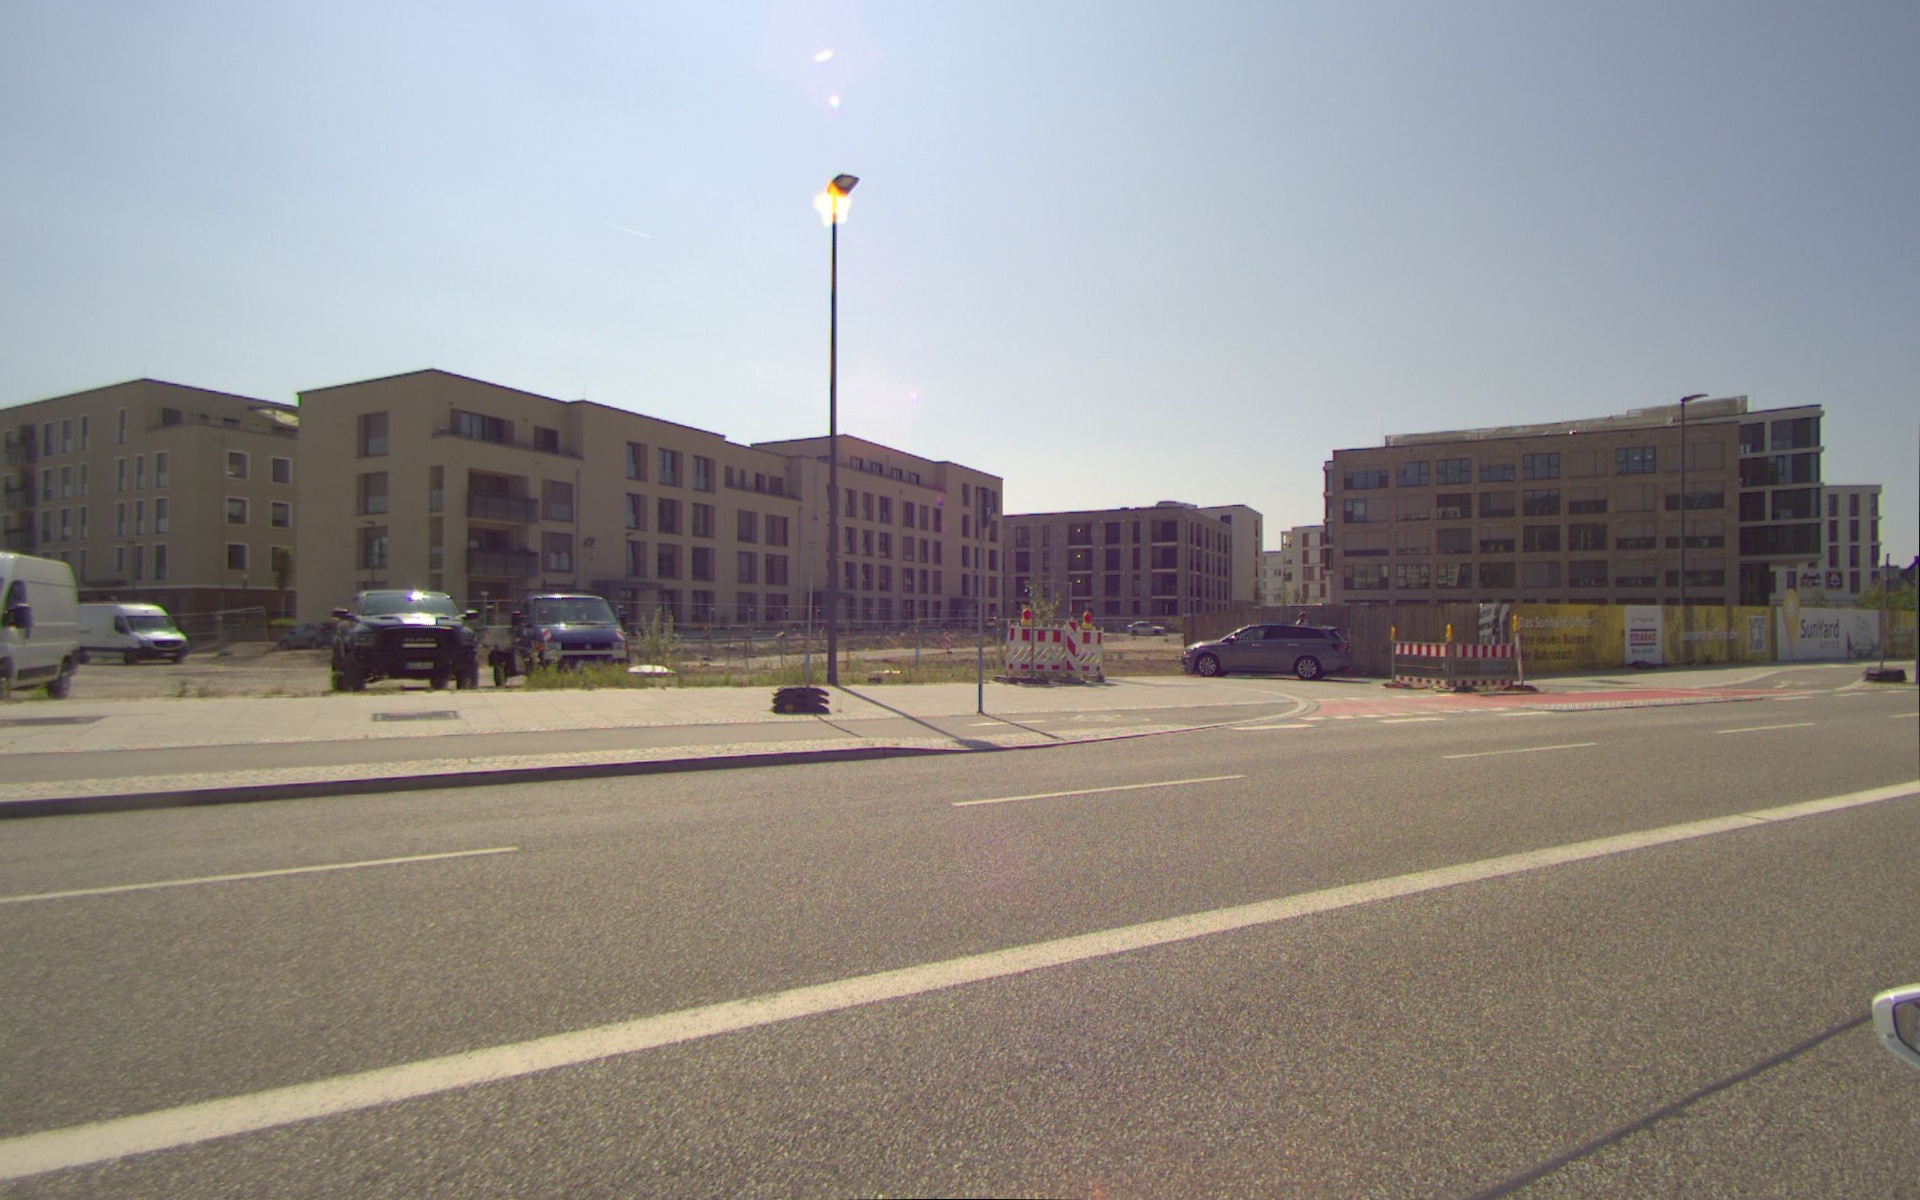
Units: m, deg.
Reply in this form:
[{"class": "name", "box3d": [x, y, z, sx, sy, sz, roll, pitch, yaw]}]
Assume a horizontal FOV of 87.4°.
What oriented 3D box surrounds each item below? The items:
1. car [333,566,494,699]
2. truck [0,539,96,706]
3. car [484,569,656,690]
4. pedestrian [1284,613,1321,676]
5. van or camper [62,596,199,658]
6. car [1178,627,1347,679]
[{"class": "car", "box3d": [-10.873, 0.610, 19.710, 2.369, 2.194, 5.850, 1, -2, -32]}, {"class": "truck", "box3d": [-16.039, 0.370, 16.181, 2.249, 2.394, 5.539, 1, -2, -31]}, {"class": "car", "box3d": [-8.386, 0.608, 21.249, 2.370, 2.202, 5.412, 1, -2, -33]}, {"class": "pedestrian", "box3d": [9.592, 1.238, 28.139, 0.741, 1.706, 0.687, 2, 0, -4]}, {"class": "van or camper", "box3d": [-36.547, 1.193, 44.234, 5.812, 2.592, 1.936, -1, -1, 20]}, {"class": "car", "box3d": [8.217, 1.399, 27.288, 4.167, 1.335, 1.998, -1, -2, 25]}]
